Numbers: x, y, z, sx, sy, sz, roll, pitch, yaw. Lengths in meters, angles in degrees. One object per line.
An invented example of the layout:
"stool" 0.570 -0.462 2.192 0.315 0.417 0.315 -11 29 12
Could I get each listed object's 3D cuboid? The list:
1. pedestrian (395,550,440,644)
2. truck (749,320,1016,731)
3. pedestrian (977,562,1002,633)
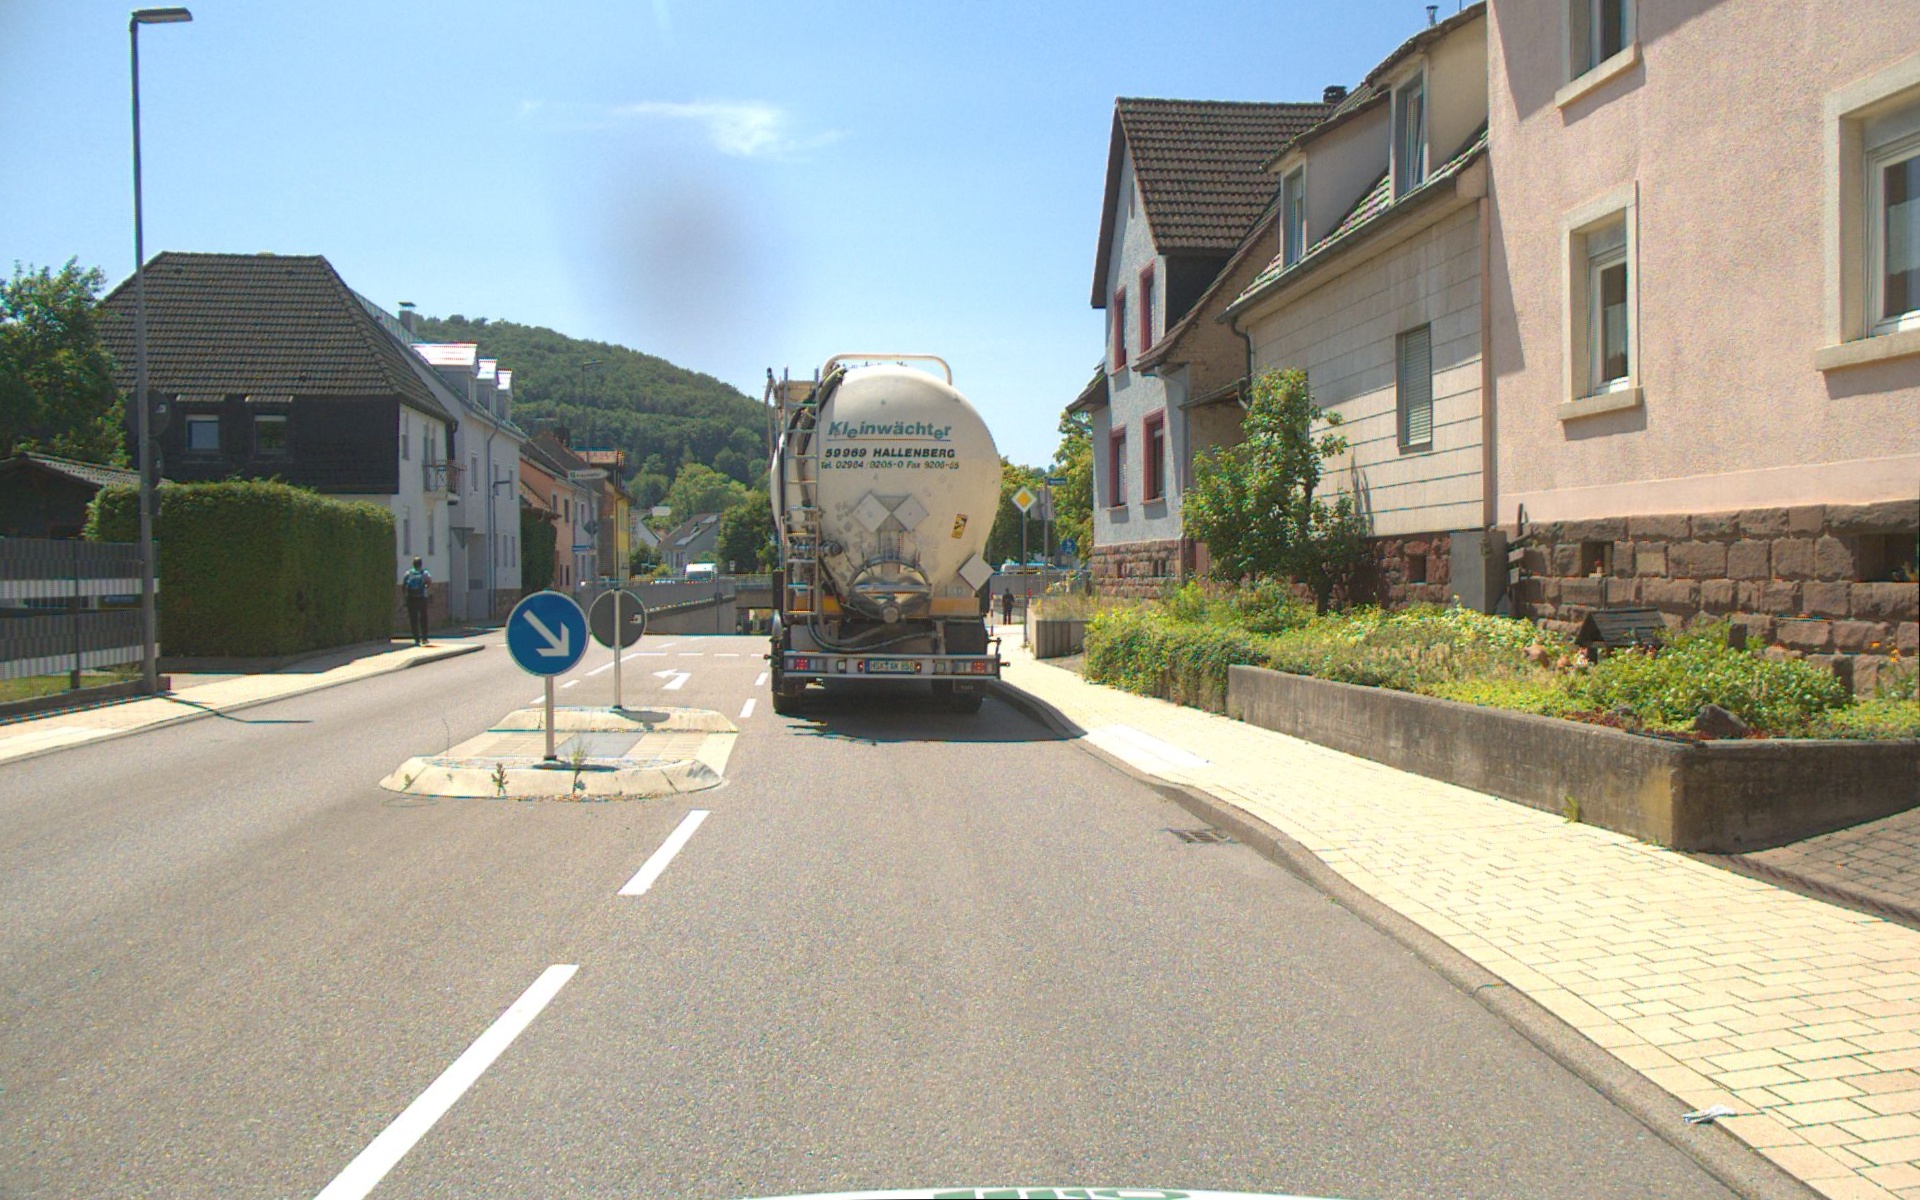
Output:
"pedestrian" -10.933 -0.060 33.340 0.699 1.855 0.896 1 -1 -10
"truck" -1.433 -0.808 22.207 2.698 4.127 10.873 0 1 -7
"pedestrian" 0.718 -0.061 40.356 0.559 1.723 0.720 1 -1 -2
